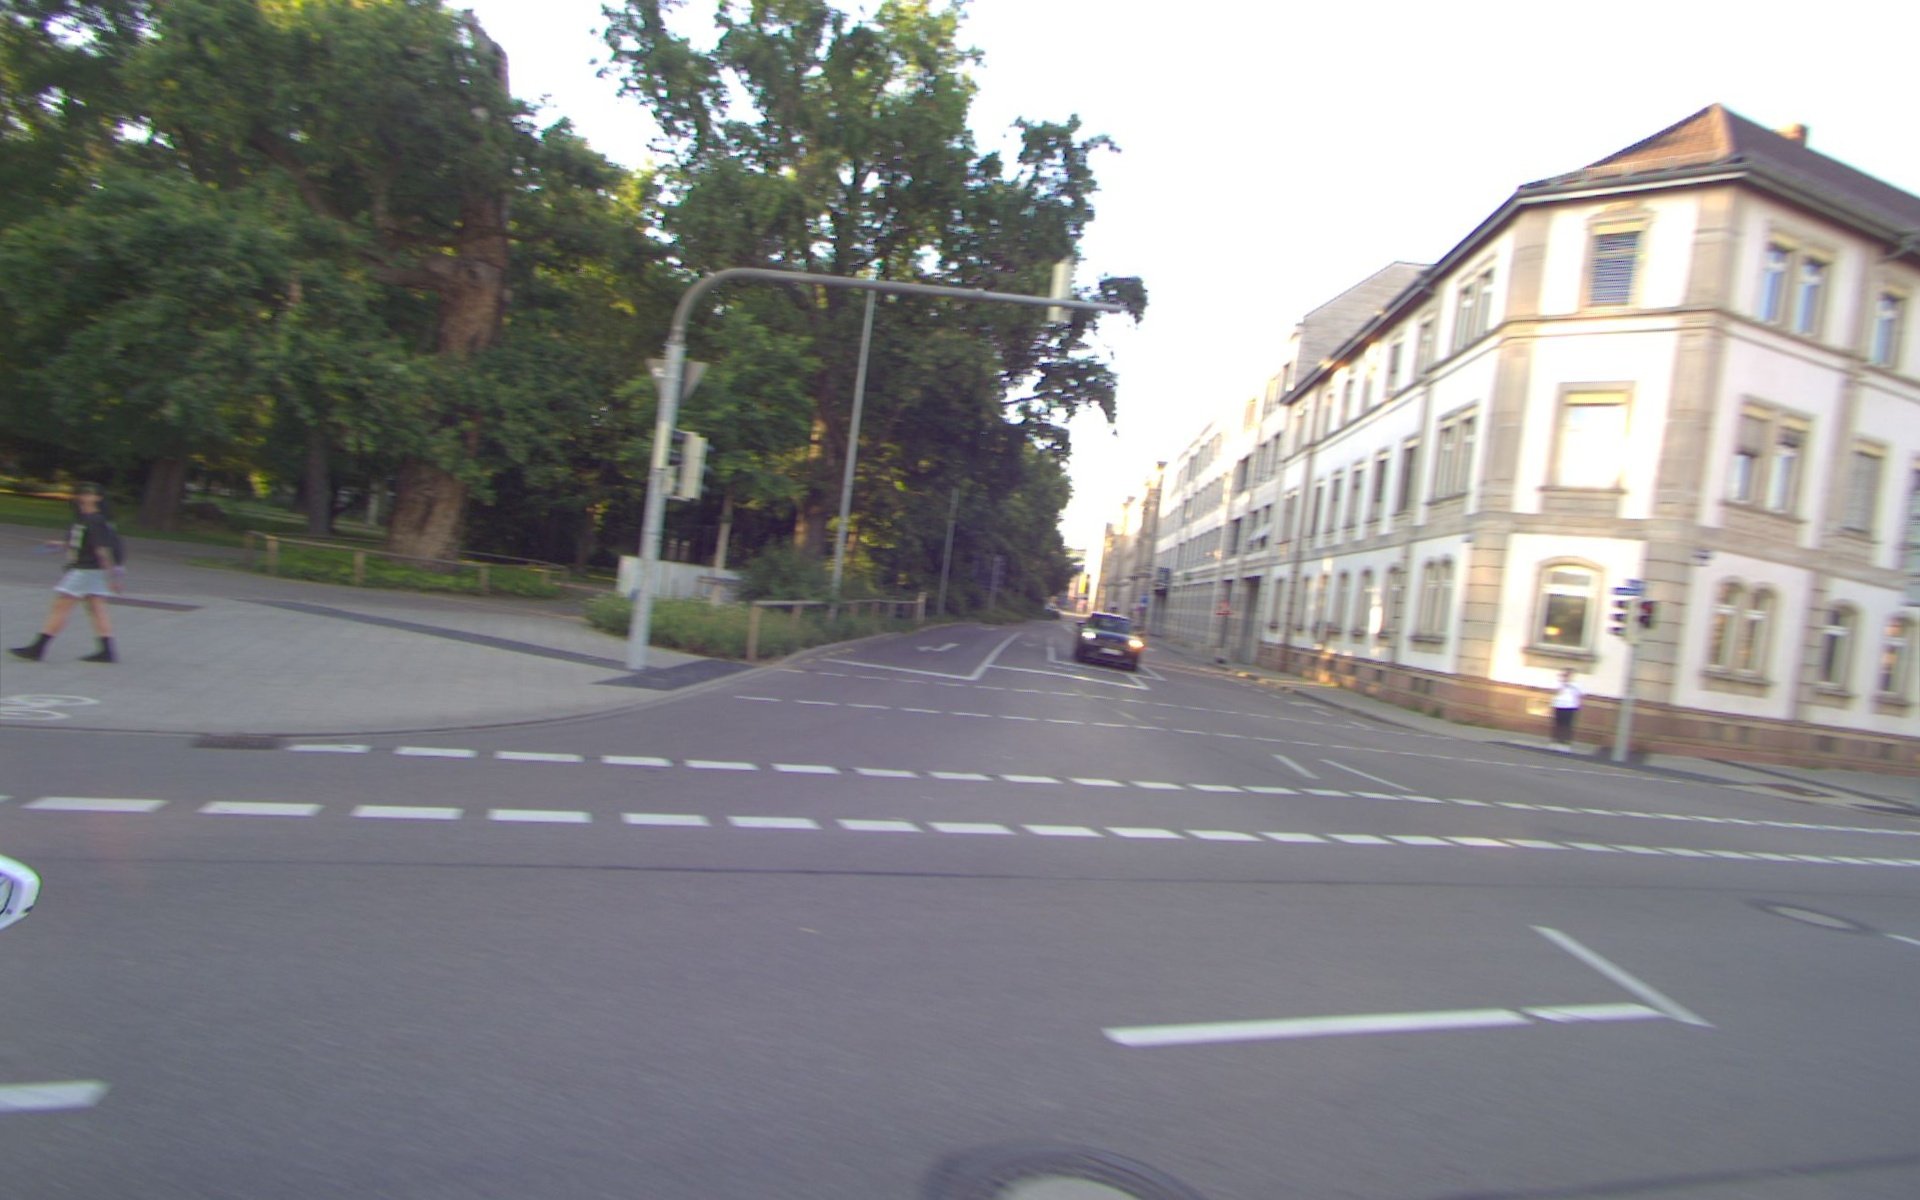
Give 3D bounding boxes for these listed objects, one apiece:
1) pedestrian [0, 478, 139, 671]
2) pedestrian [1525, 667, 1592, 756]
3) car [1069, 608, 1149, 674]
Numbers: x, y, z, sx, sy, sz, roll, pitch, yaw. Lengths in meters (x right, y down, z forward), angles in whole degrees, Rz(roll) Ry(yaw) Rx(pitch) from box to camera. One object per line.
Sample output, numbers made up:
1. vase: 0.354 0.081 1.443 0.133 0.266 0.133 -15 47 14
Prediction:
1. pedestrian: -7.588 -0.217 8.591 0.609 1.524 0.578 7 3 -15
2. pedestrian: 12.228 2.275 20.558 0.632 1.678 0.809 6 2 -40
3. car: 4.161 1.108 28.634 1.795 1.536 3.576 7 1 3
